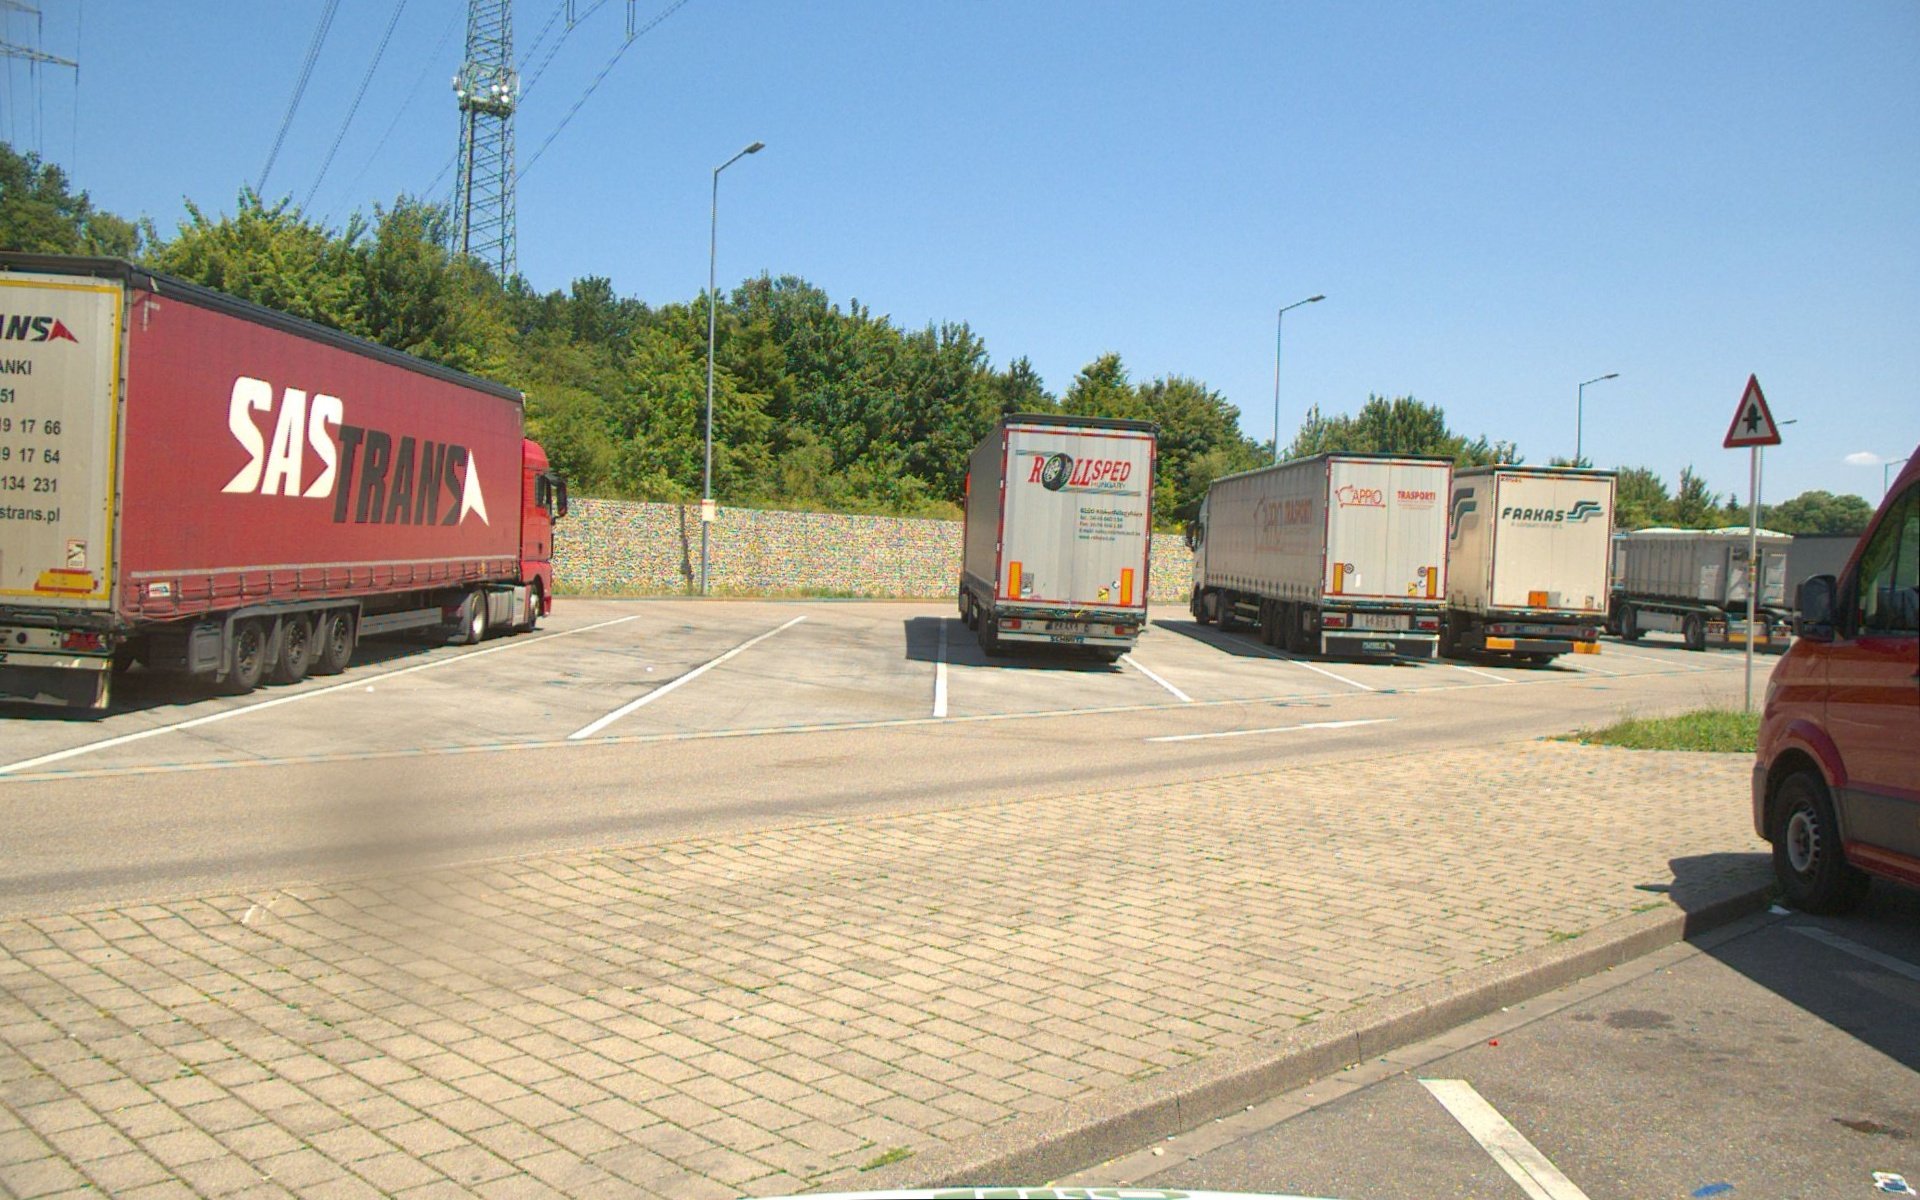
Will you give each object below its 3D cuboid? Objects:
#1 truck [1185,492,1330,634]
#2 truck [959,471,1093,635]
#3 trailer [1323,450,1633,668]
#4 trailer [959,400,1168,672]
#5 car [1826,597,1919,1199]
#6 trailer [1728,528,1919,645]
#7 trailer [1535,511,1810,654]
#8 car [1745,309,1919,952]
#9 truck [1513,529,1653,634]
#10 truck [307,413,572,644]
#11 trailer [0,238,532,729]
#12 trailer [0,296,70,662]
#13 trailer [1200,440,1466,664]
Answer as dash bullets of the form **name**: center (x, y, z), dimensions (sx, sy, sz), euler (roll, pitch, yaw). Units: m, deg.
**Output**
- **truck**: center (8.098, -1.038, 45.648), dimensions (2.794, 3.544, 5.482), euler (2, 2, -1)
- **truck**: center (1.483, -1.143, 39.859), dimensions (2.794, 3.544, 5.482), euler (2, 2, -1)
- **trailer**: center (11.771, -1.017, 39.643), dimensions (2.781, 4.204, 13.722), euler (2, 2, -1)
- **trailer**: center (1.651, -1.231, 33.250), dimensions (2.848, 4.204, 13.720), euler (2, 2, -1)
- **car**: center (2.599, 0.799, 1.166), dimensions (1.703, 1.508, 3.813), euler (1, 1, -6)
- **trailer**: center (34.942, -0.644, 65.421), dimensions (2.780, 4.119, 13.726), euler (2, 2, 1)
- **trailer**: center (21.929, -0.685, 52.218), dimensions (2.780, 3.781, 13.726), euler (3, 2, 1)
- **car**: center (5.010, 0.165, 5.571), dimensions (2.023, 2.742, 6.397), euler (1, 1, 4)
- **truck**: center (22.010, -0.715, 58.722), dimensions (2.794, 3.423, 5.484), euler (3, 2, 0)
- **truck**: center (-8.792, -1.206, 28.633), dimensions (2.794, 3.487, 5.482), euler (2, 2, -1)
- **trailer**: center (-8.679, -1.296, 21.198), dimensions (2.848, 4.203, 13.723), euler (2, 2, -1)
- **trailer**: center (-12.524, -1.308, 15.715), dimensions (2.673, 4.282, 10.170), euler (2, 2, -1)
- **trailer**: center (8.212, -1.138, 38.839), dimensions (2.781, 4.204, 13.722), euler (2, 2, -1)
